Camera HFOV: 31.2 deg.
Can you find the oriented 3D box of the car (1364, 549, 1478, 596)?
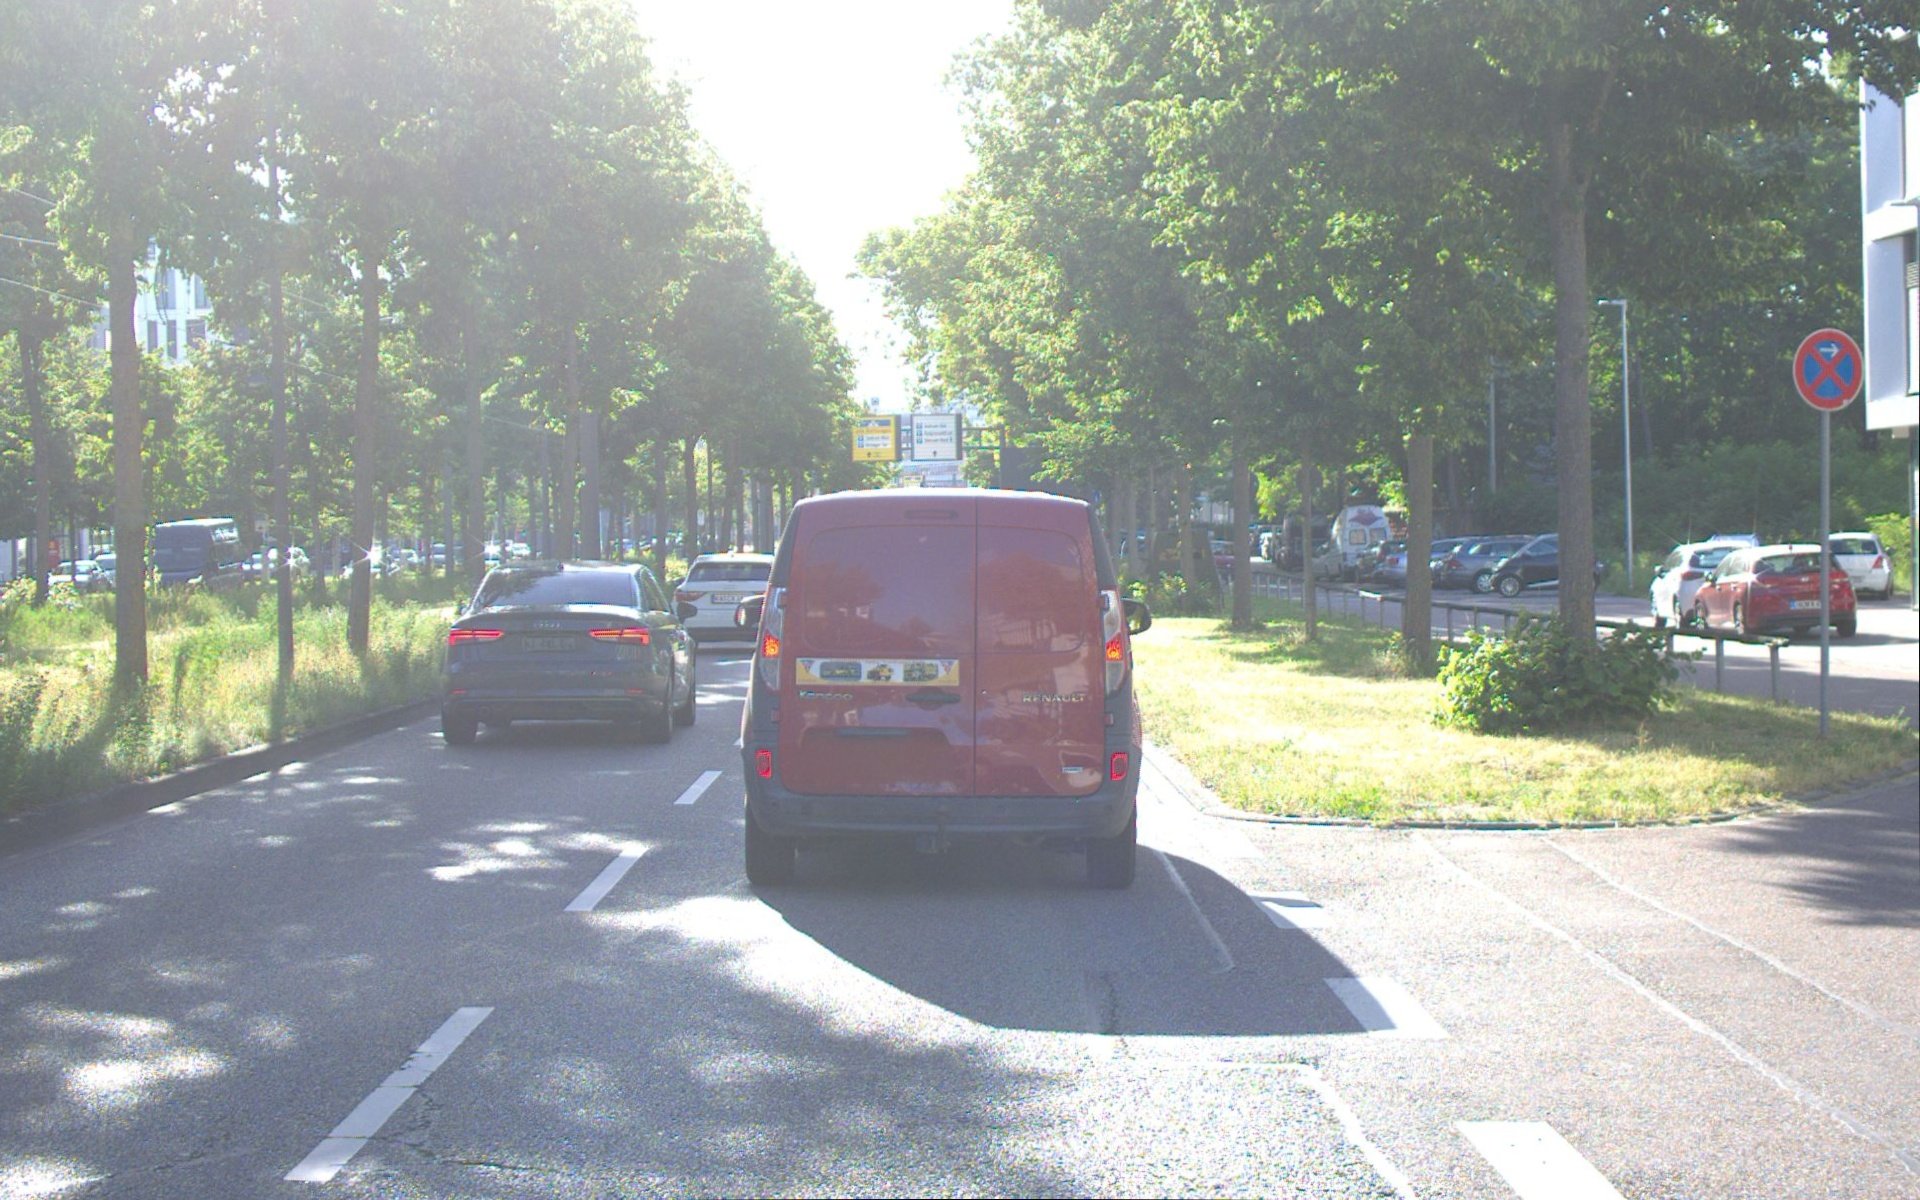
[{"bbox_3d":[14.044,-0.847,104.900,3.399,1.354,1.470,-1,1,7],"label":"car"}]

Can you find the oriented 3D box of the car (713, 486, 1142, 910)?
[{"bbox_3d":[-0.200,0.379,16.643,1.808,1.788,4.113,0,1,-2],"label":"car"}]

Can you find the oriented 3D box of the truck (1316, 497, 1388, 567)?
[{"bbox_3d":[14.233,-2.467,125.054,1.831,2.492,5.933,-1,1,-1],"label":"truck"}]

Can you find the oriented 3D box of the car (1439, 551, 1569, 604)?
[{"bbox_3d":[14.751,-0.619,93.273,3.399,1.354,1.470,-1,1,7],"label":"car"}]

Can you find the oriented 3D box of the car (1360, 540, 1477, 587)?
[{"bbox_3d":[13.620,-1.090,102.217,3.399,1.354,1.470,-1,1,7],"label":"car"}]

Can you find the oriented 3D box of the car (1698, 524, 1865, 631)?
[{"bbox_3d":[12.916,-0.383,54.245,1.758,1.606,3.903,-1,1,1],"label":"car"}]

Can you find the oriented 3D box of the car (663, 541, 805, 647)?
[{"bbox_3d":[-3.250,-0.117,50.127,1.808,1.429,4.113,-1,1,0],"label":"car"}]

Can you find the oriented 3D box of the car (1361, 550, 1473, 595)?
[{"bbox_3d":[14.236,-0.863,107.207,3.399,1.354,1.470,-1,1,7],"label":"car"}]

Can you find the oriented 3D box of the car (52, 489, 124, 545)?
[{"bbox_3d":[-31.762,-3.028,125.346,1.728,2.006,4.001,-1,2,-2],"label":"car"}]

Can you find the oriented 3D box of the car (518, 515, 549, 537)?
[{"bbox_3d":[-30.520,-5.284,246.164,1.755,1.568,4.000,-1,1,-1],"label":"car"}]

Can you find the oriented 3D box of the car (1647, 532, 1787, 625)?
[{"bbox_3d":[13.012,-0.401,59.251,1.819,1.527,3.437,-1,1,3],"label":"car"}]

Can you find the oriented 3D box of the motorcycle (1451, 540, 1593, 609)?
[{"bbox_3d":[13.947,-0.641,85.478,3.399,1.657,1.470,-1,1,7],"label":"motorcycle"}]

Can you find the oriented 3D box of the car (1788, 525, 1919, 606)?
[{"bbox_3d":[20.287,-0.793,78.206,1.993,1.809,4.000,0,1,1],"label":"car"}]

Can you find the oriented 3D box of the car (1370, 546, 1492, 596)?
[{"bbox_3d":[13.381,-0.838,97.776,3.399,1.354,1.470,-1,1,7],"label":"car"}]

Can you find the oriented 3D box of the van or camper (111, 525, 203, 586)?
[{"bbox_3d":[-23.476,-1.323,100.632,1.820,1.732,3.712,-1,1,-1],"label":"van or camper"}]

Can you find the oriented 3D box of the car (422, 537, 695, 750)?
[{"bbox_3d":[-3.115,0.282,27.380,1.808,1.522,4.113,-1,1,-2],"label":"car"}]

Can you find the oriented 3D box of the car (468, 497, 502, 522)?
[{"bbox_3d":[-31.329,-5.971,226.801,1.755,1.568,4.000,-1,1,-1],"label":"car"}]
